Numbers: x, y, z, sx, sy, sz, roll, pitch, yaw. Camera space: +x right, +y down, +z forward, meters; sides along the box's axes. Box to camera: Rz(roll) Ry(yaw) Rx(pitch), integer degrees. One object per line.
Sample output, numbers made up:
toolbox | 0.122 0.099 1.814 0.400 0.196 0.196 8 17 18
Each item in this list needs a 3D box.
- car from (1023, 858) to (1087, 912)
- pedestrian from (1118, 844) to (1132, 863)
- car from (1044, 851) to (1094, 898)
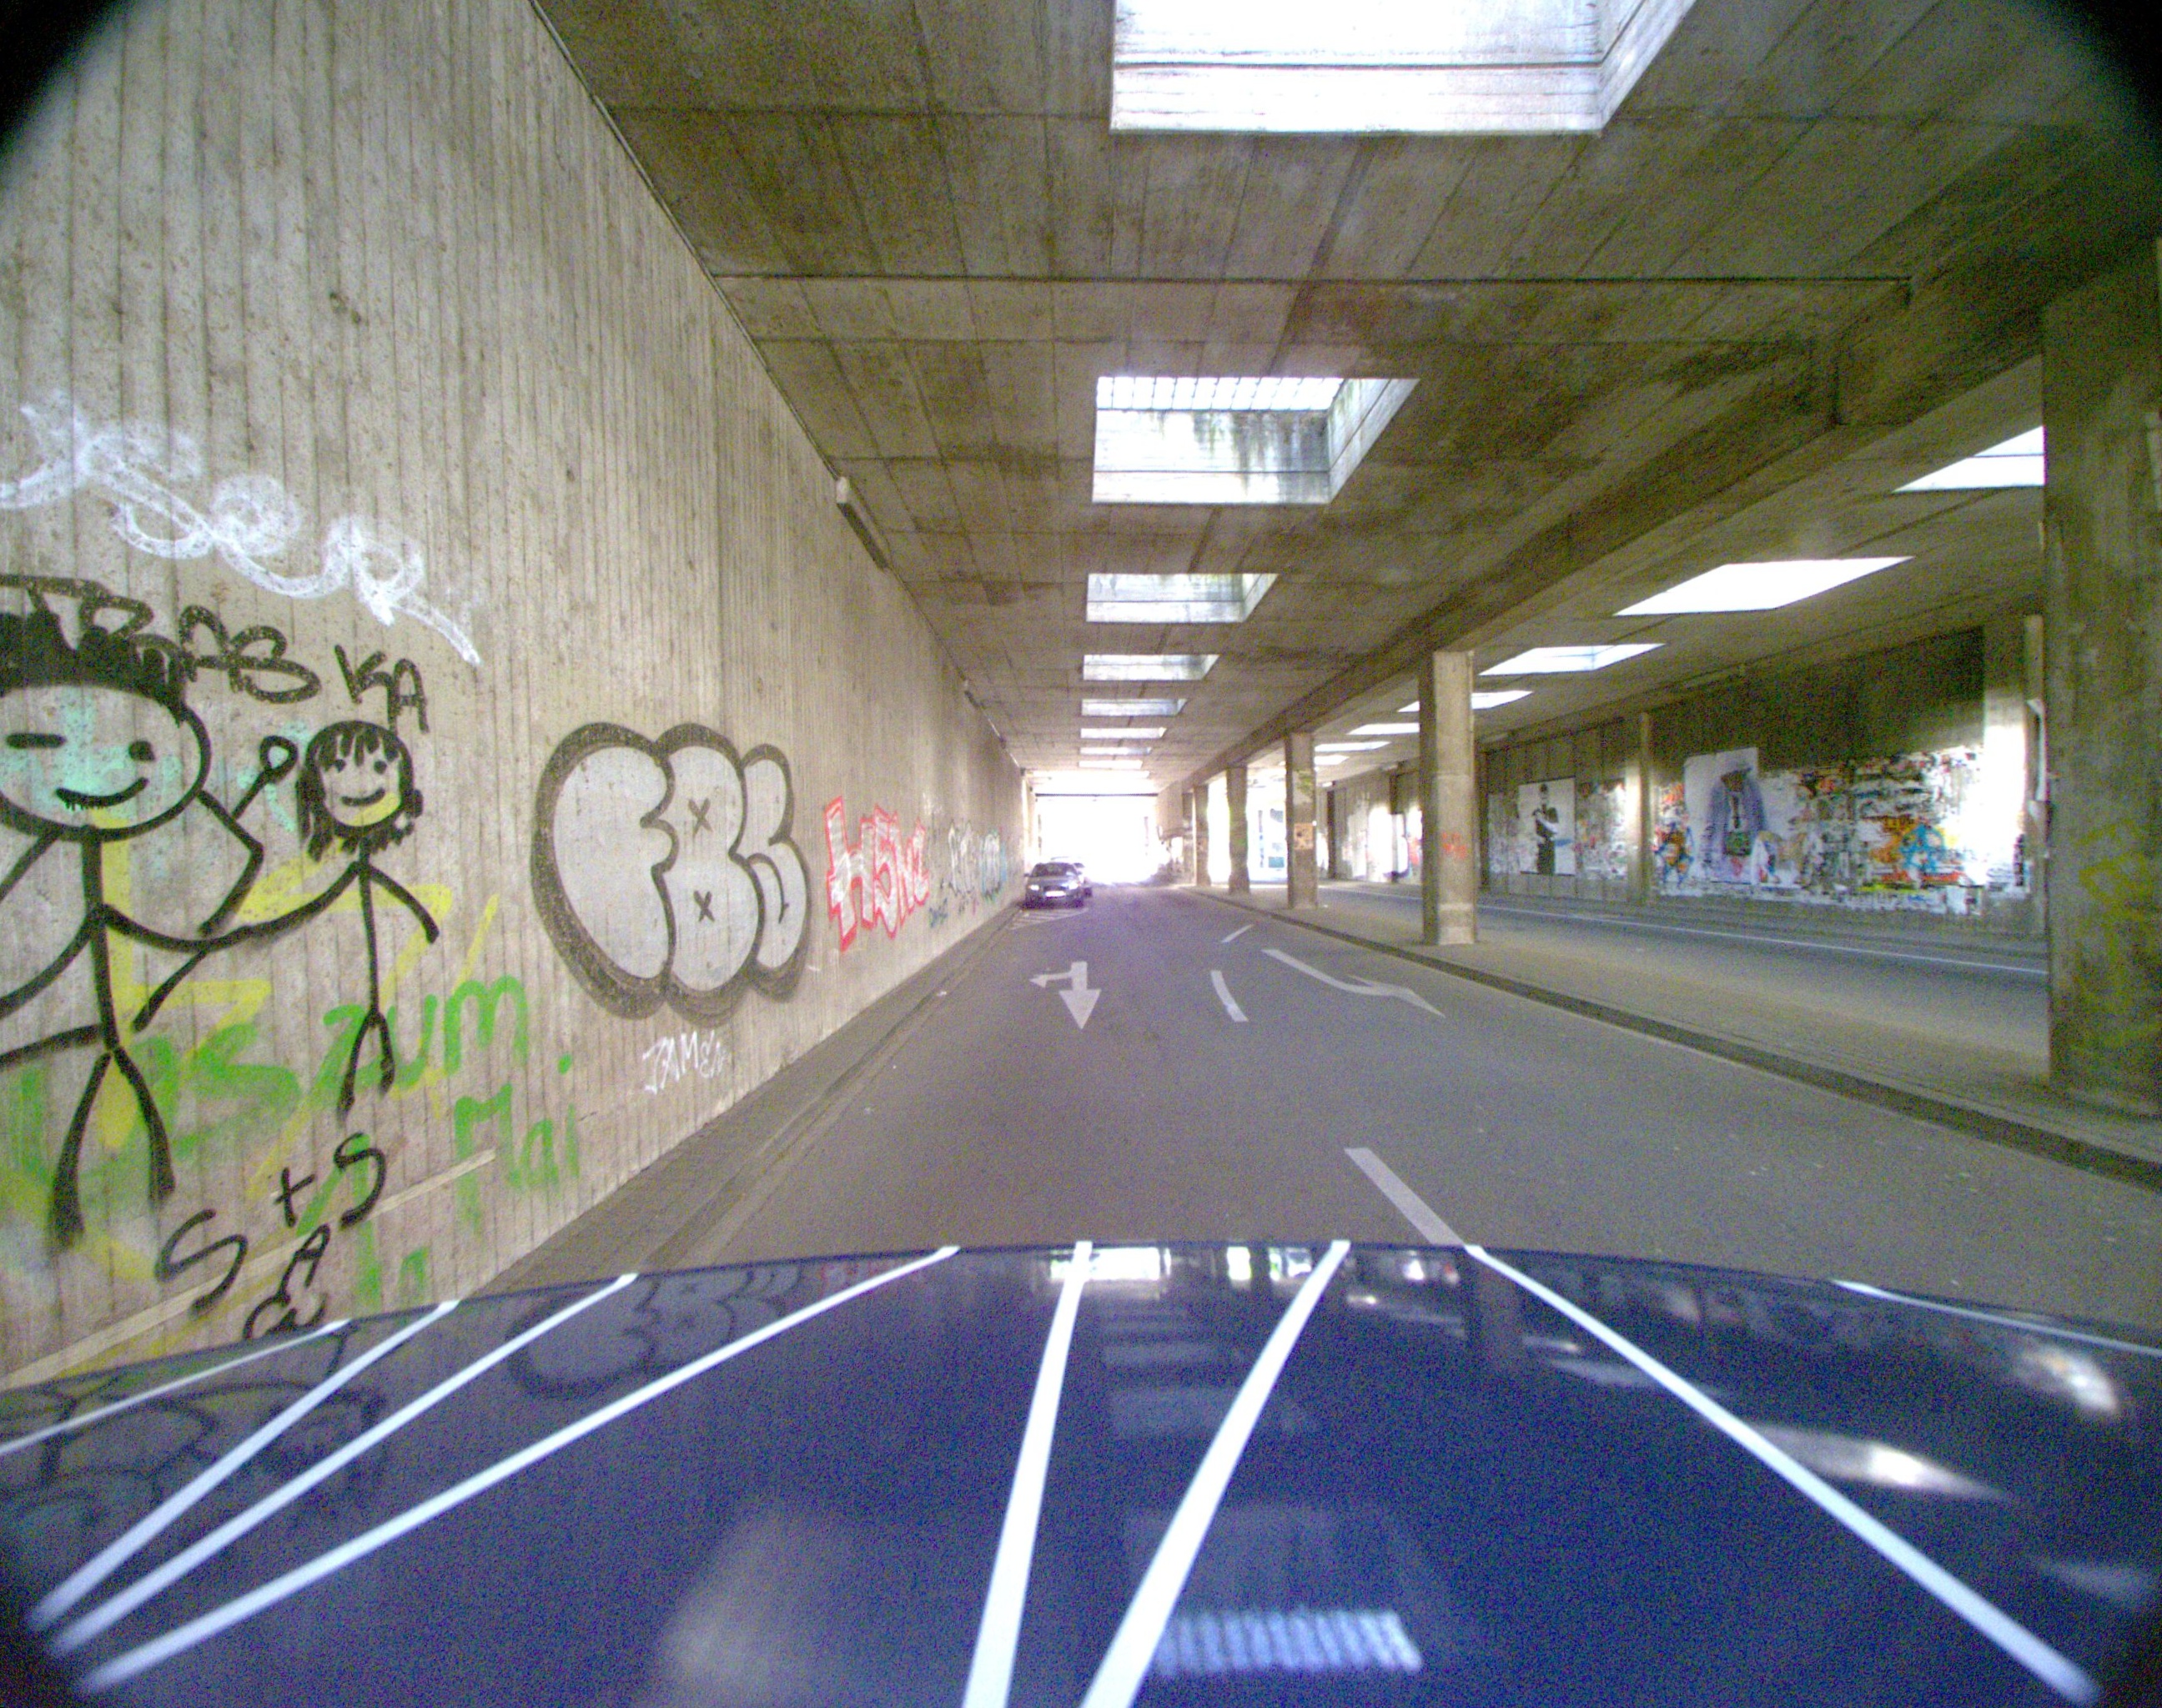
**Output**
car | -0.740 0.910 23.955 1.767 1.407 3.999 -2 1 1
pedestrian | 4.944 -0.090 85.038 1.488 2.002 1.216 -2 1 6
car | -0.512 0.749 29.795 1.767 1.634 3.999 -2 1 -2
